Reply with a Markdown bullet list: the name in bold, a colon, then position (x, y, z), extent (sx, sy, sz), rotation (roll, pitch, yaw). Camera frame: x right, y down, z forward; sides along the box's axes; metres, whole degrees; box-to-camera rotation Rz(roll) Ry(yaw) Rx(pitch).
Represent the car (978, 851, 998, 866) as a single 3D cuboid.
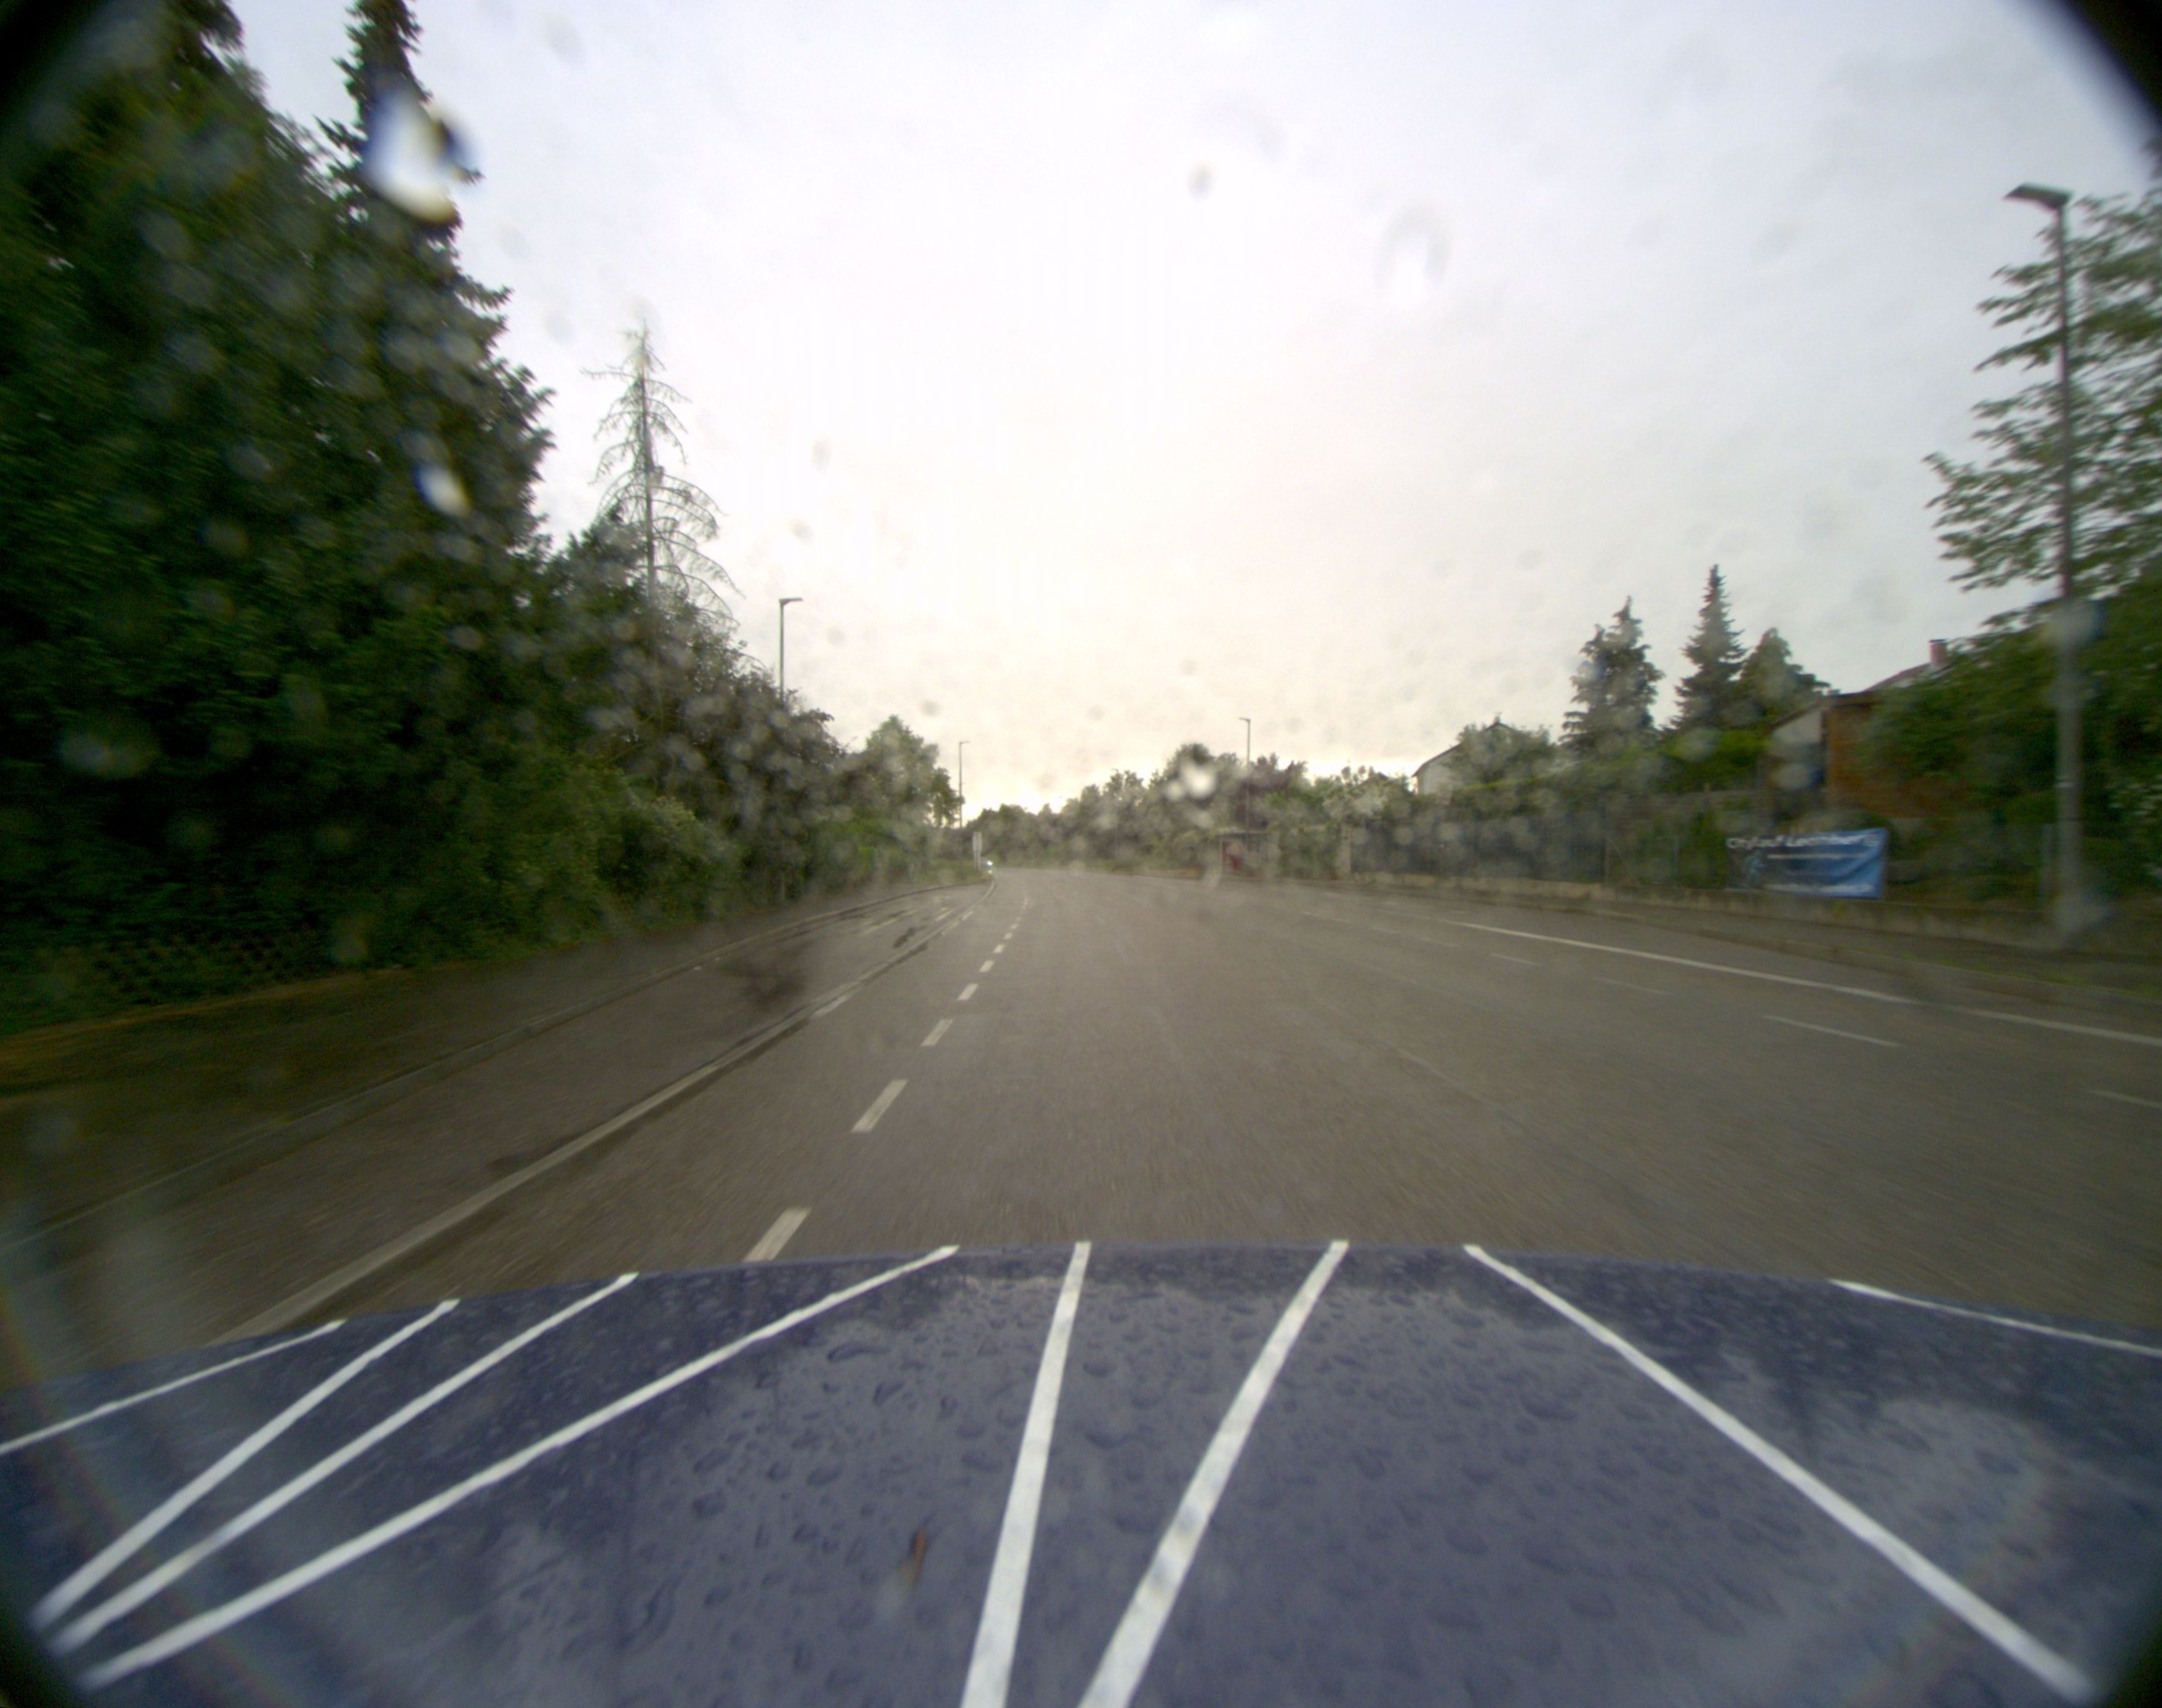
- **car**: position (-11.206, 0.565, 91.386), extent (2.001, 1.831, 3.995), rotation (0, 0, -14)
